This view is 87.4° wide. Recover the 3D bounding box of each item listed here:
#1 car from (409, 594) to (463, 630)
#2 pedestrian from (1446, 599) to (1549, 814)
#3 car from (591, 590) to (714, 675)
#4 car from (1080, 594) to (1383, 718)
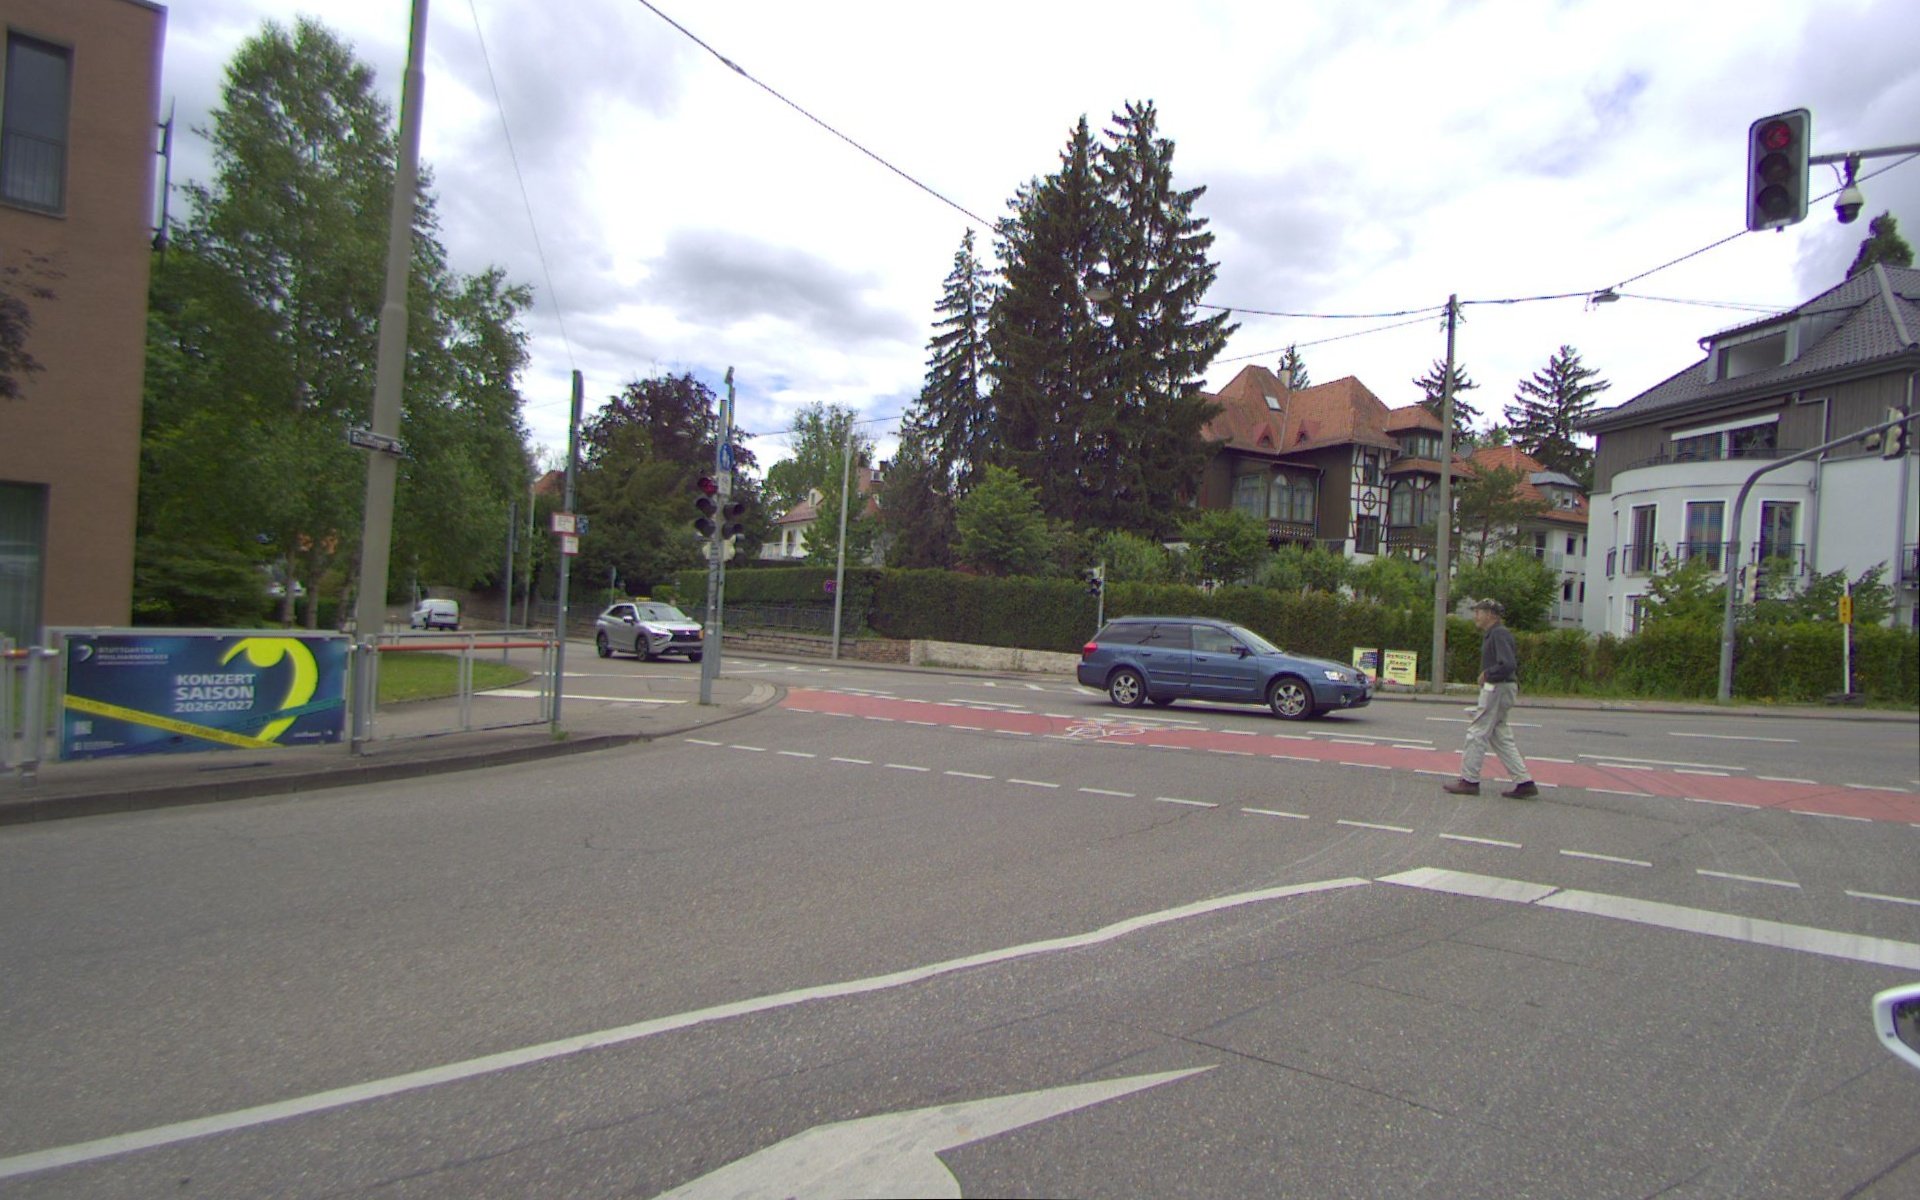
[{"bbox_3d":[-31.265,0.684,59.886,1.983,1.882,4.302,-2,3,-40],"label":"car"},{"bbox_3d":[4.506,0.853,8.465,0.687,1.705,0.685,1,2,24],"label":"pedestrian"},{"bbox_3d":[-8.902,0.854,28.907,1.983,2.041,4.115,-2,4,-39],"label":"car"},{"bbox_3d":[4.326,0.821,16.248,4.331,1.707,1.908,1,-1,34],"label":"car"}]
